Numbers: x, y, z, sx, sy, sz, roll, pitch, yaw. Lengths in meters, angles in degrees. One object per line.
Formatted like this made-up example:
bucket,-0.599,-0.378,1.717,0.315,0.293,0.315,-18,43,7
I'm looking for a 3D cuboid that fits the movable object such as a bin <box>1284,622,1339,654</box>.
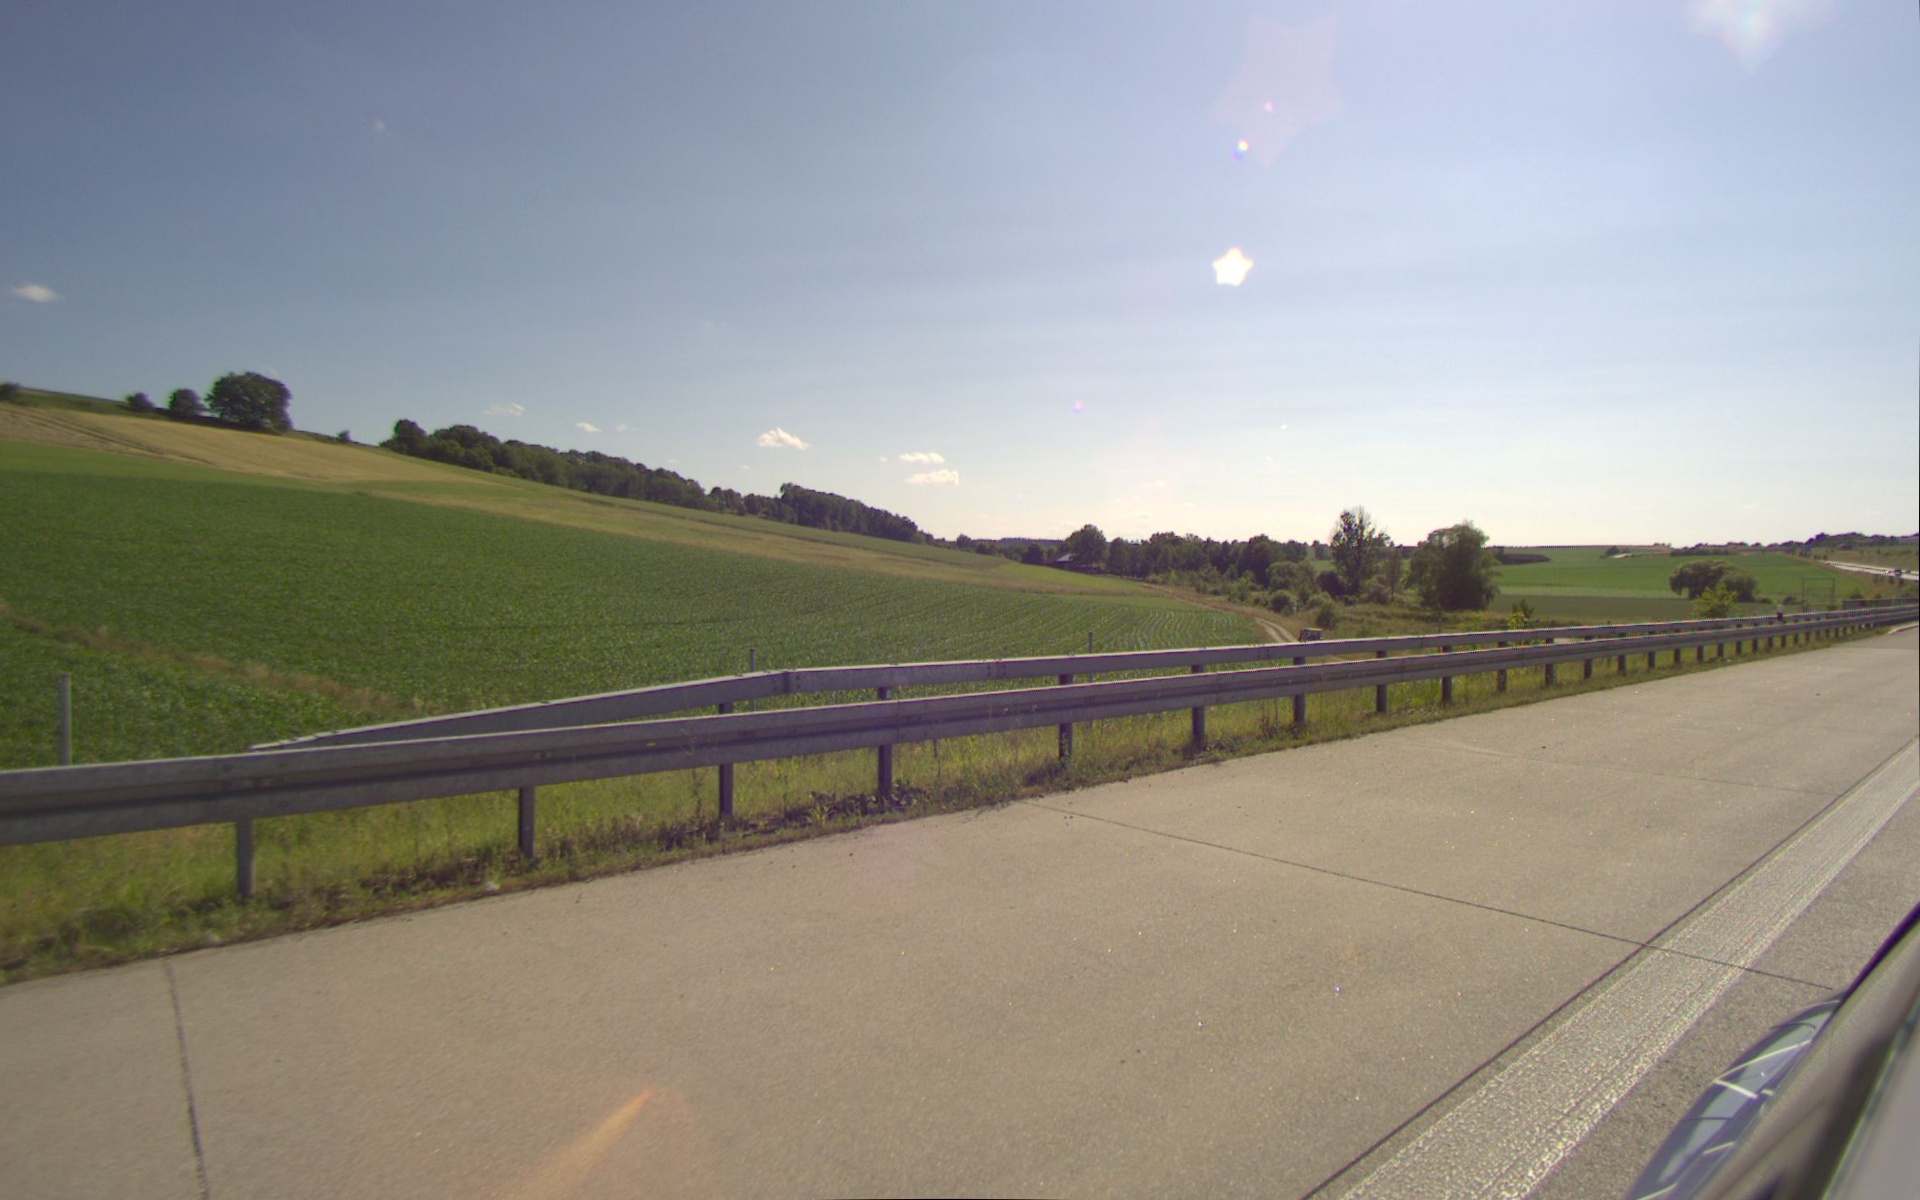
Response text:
movable object such as a bin,35.946,3.829,103.712,3.222,2.805,6.237,-2,1,-3
